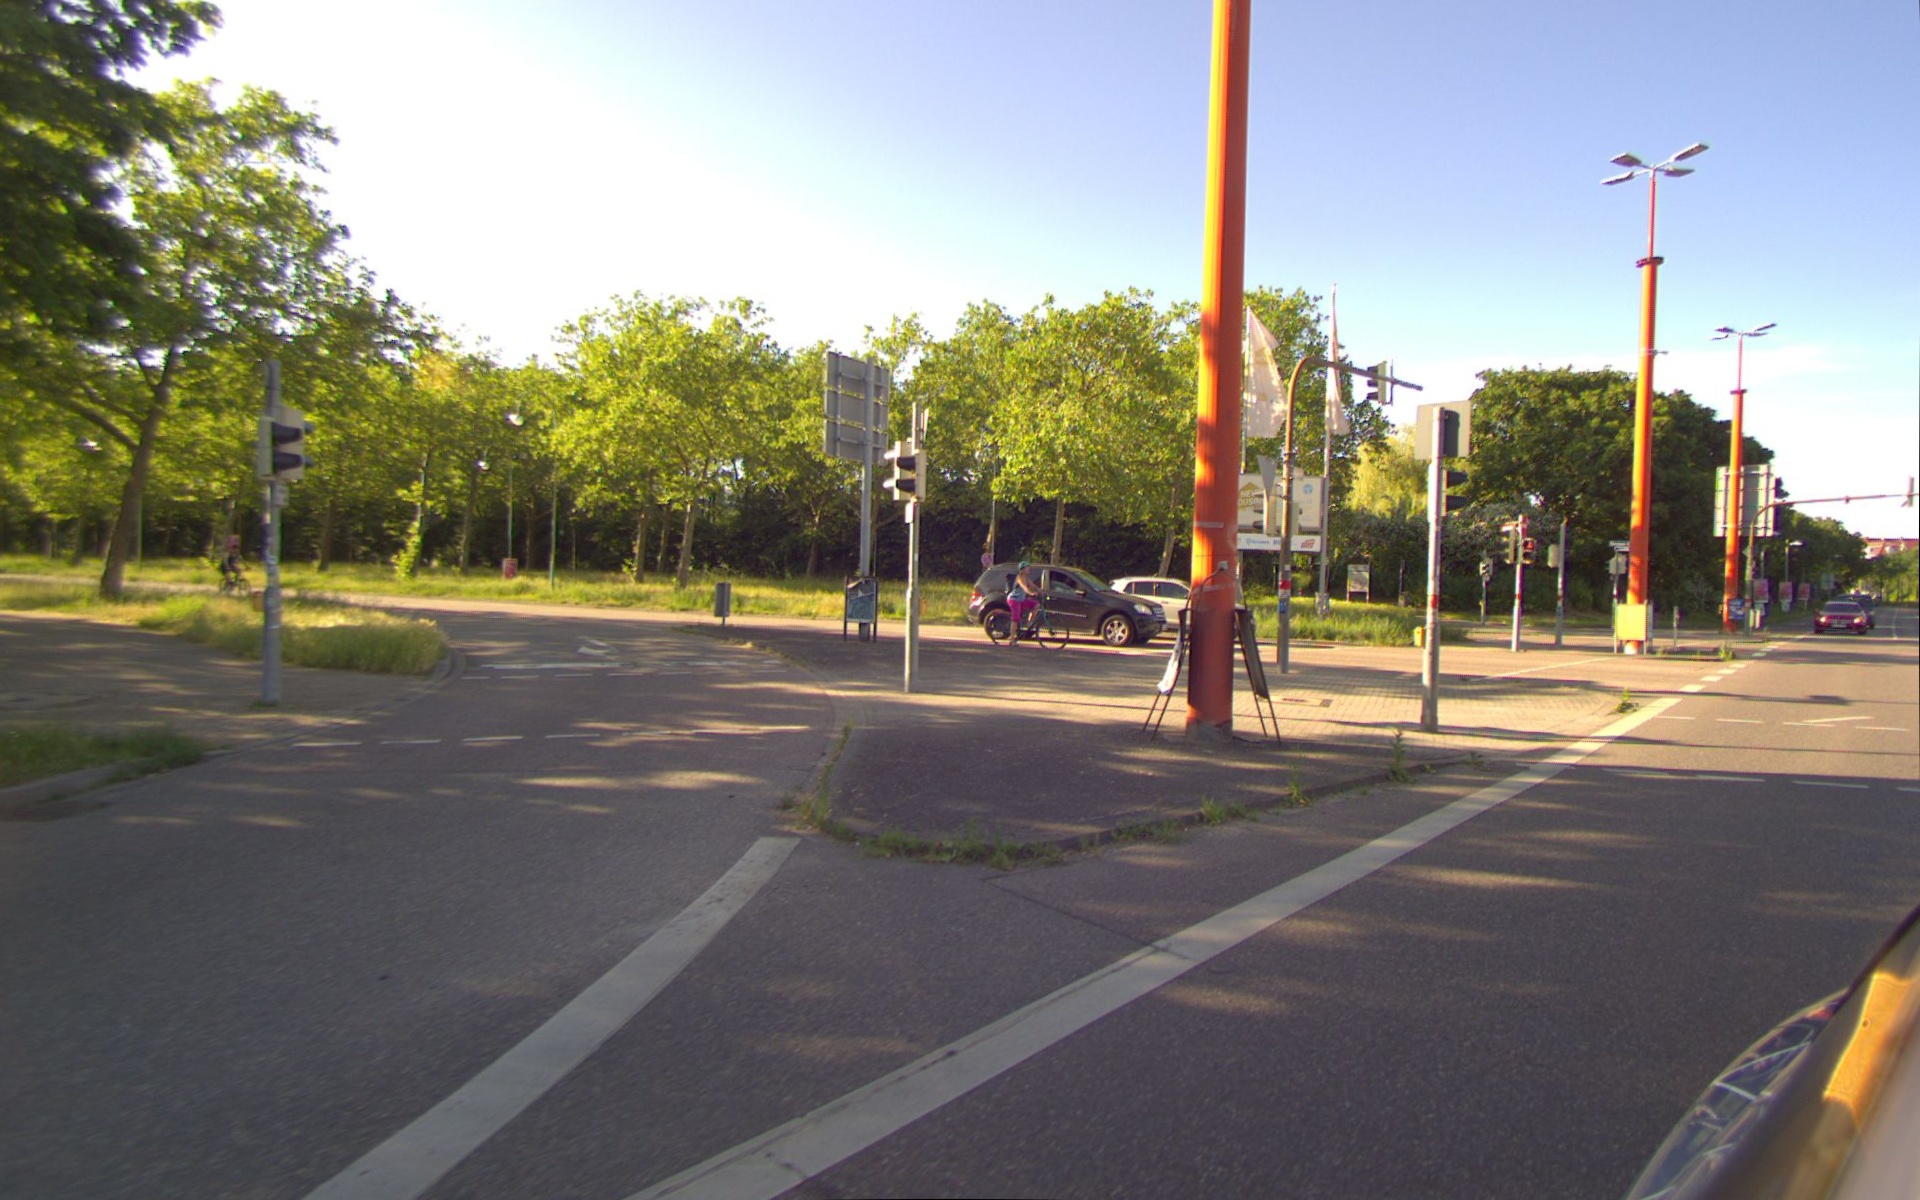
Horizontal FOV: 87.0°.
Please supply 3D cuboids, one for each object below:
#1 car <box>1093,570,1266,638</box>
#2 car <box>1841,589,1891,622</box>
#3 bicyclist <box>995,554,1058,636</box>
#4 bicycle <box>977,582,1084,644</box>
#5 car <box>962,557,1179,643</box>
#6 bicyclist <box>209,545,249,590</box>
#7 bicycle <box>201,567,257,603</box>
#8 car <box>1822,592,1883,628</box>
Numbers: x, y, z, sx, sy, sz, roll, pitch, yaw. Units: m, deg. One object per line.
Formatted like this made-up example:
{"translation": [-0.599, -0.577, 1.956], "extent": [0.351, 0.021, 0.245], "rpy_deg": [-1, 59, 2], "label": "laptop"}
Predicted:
{"translation": [5.642, 0.072, 26.007], "extent": [4.049, 1.558, 1.758], "rpy_deg": [2, 1, 26], "label": "car"}
{"translation": [51.756, 0.319, 57.796], "extent": [1.994, 1.753, 4.743], "rpy_deg": [3, 2, 43], "label": "car"}
{"translation": [1.331, -0.118, 20.217], "extent": [0.974, 1.577, 0.752], "rpy_deg": [3, 2, 33], "label": "bicyclist"}
{"translation": [1.388, 0.233, 20.182], "extent": [2.001, 1.105, 0.757], "rpy_deg": [3, 2, 33], "label": "bicycle"}
{"translation": [2.540, -0.048, 23.423], "extent": [4.607, 1.748, 1.891], "rpy_deg": [2, 1, 26], "label": "car"}
{"translation": [-23.951, -1.070, 33.142], "extent": [0.958, 1.454, 0.730], "rpy_deg": [2, 1, 30], "label": "bicyclist"}
{"translation": [-23.945, -0.493, 33.139], "extent": [1.998, 1.105, 0.729], "rpy_deg": [2, 1, 30], "label": "bicycle"}
{"translation": [41.362, 0.441, 46.869], "extent": [1.994, 1.513, 4.222], "rpy_deg": [3, 2, 43], "label": "car"}
